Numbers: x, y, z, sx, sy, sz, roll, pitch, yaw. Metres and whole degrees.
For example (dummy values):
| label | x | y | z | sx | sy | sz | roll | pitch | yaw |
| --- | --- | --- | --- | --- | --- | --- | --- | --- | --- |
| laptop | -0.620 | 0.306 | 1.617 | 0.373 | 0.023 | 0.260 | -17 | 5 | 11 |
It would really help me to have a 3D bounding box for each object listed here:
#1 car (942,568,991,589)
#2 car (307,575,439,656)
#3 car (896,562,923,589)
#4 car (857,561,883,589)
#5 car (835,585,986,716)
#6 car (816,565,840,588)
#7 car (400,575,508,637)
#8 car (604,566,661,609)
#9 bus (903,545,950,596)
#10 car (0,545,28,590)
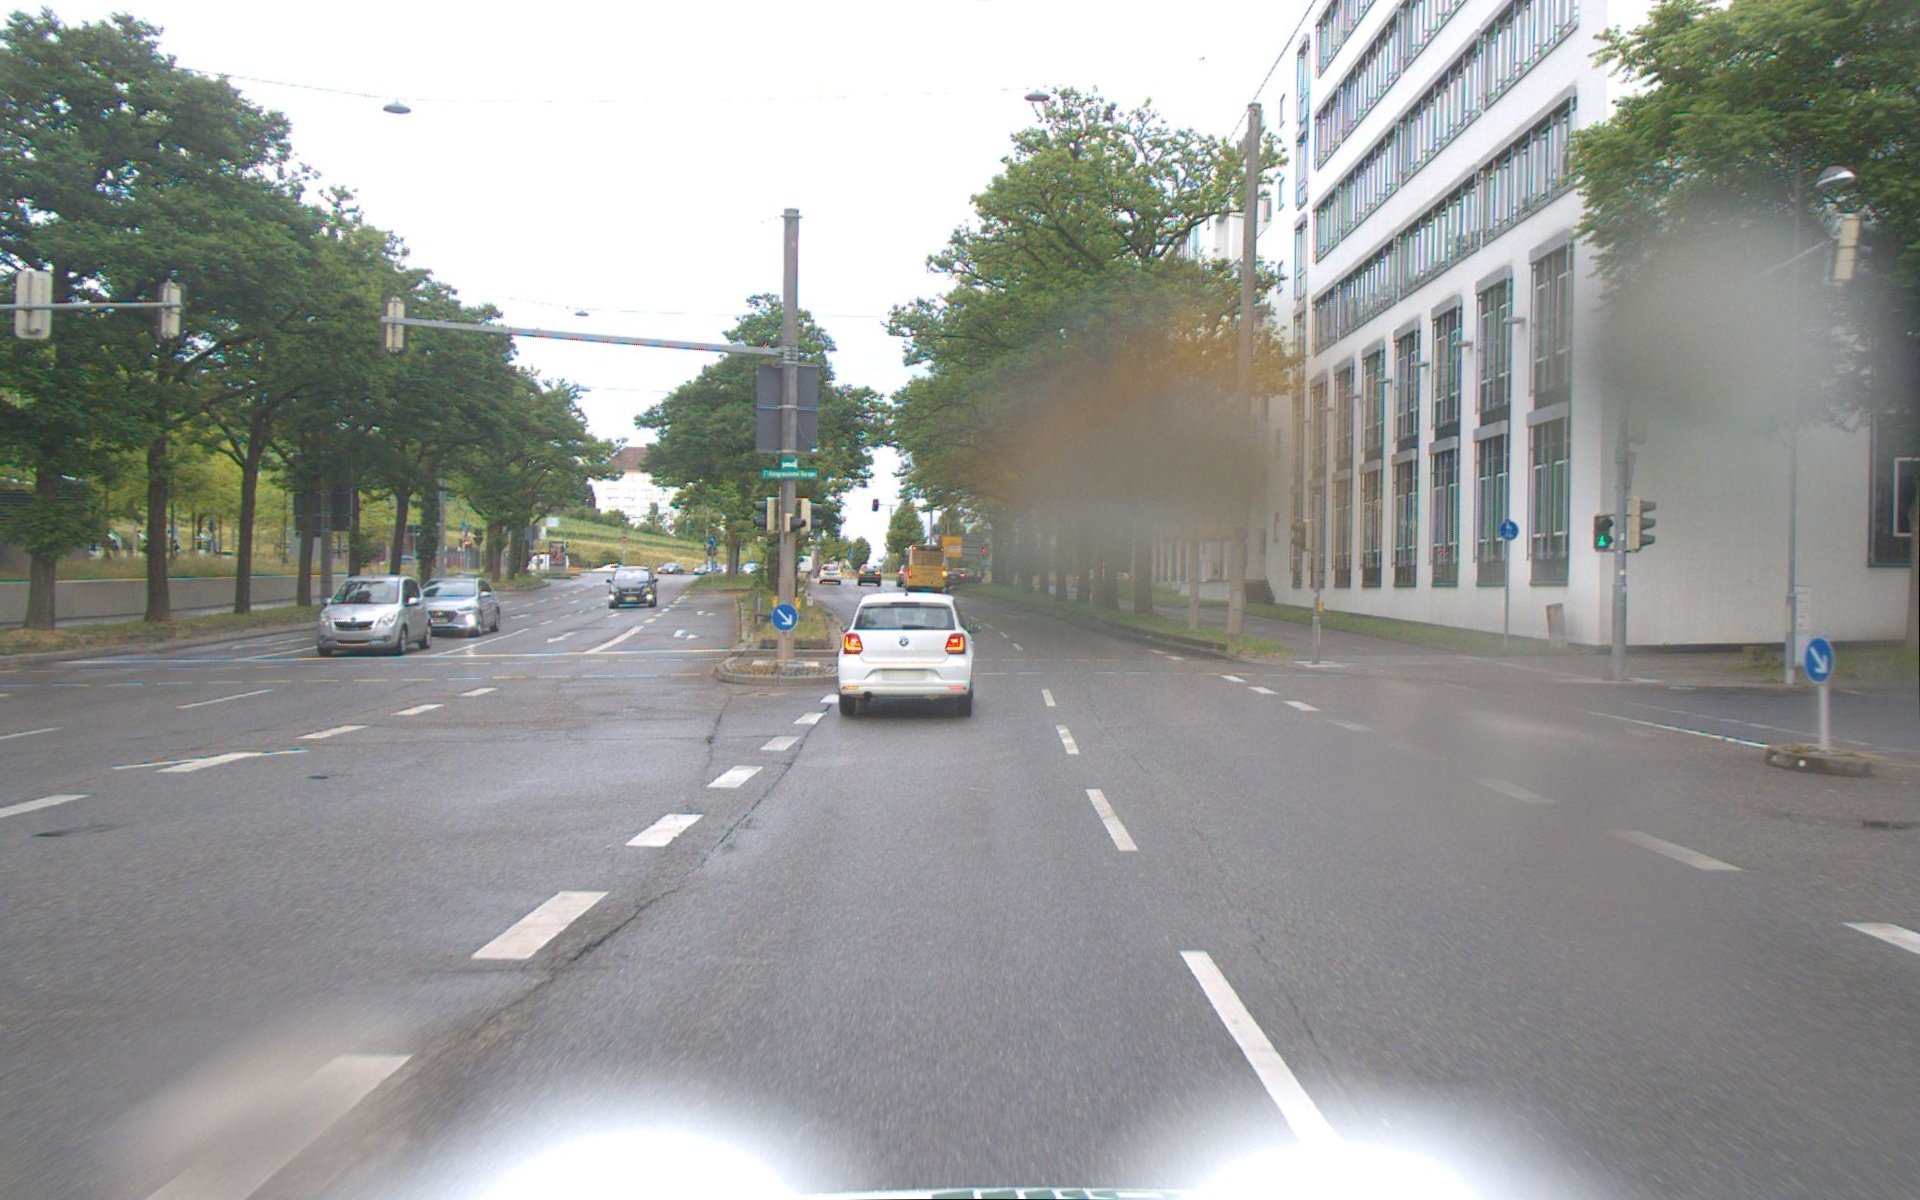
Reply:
| label | x | y | z | sx | sy | sz | roll | pitch | yaw |
| --- | --- | --- | --- | --- | --- | --- | --- | --- | --- |
| car | 0.530 | -1.627 | 126.873 | 1.669 | 1.542 | 3.806 | 0 | 0 | 41 |
| car | -11.988 | 0.268 | 34.007 | 1.716 | 1.547 | 3.812 | -1 | 1 | -7 |
| car | -3.928 | -1.912 | 128.093 | 1.954 | 2.049 | 3.997 | 0 | 0 | -4 |
| car | -6.897 | -1.916 | 126.877 | 1.954 | 2.049 | 3.997 | 0 | 0 | -4 |
| car | -0.662 | 0.578 | 21.362 | 1.758 | 1.528 | 3.998 | 0 | 0 | -3 |
| car | -10.238 | -1.825 | 128.310 | 1.759 | 1.772 | 3.996 | 0 | 1 | -5 |
| car | -12.851 | 0.116 | 42.288 | 1.779 | 1.436 | 4.649 | -1 | 1 | -6 |
| car | -13.495 | -0.545 | 68.357 | 1.956 | 1.644 | 5.113 | -1 | 2 | -7 |
| bus | -2.400 | -2.091 | 114.548 | 2.772 | 3.323 | 9.994 | 1 | 1 | -4 |
| car | -44.803 | -1.469 | 75.294 | 3.934 | 2.048 | 1.986 | -1 | 1 | -24 |
